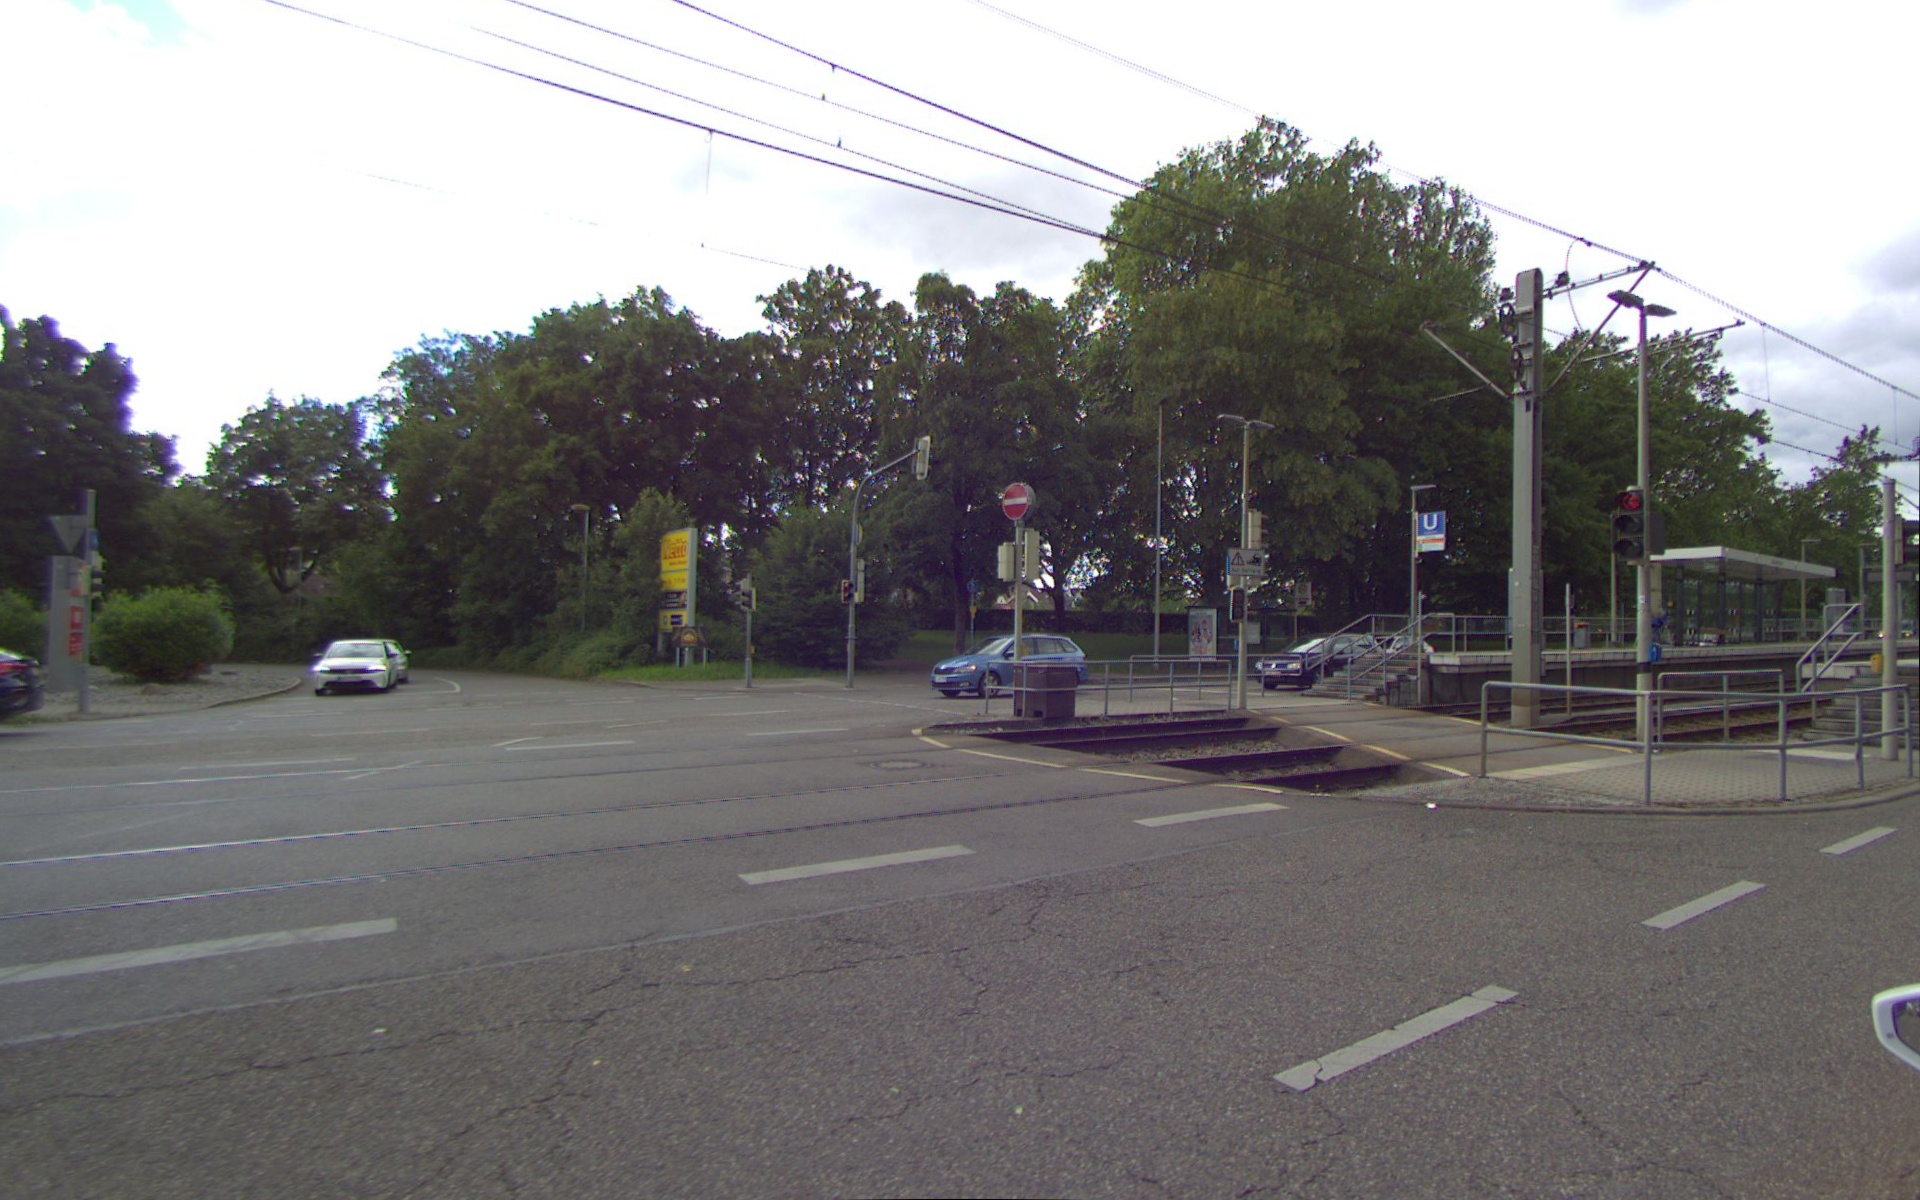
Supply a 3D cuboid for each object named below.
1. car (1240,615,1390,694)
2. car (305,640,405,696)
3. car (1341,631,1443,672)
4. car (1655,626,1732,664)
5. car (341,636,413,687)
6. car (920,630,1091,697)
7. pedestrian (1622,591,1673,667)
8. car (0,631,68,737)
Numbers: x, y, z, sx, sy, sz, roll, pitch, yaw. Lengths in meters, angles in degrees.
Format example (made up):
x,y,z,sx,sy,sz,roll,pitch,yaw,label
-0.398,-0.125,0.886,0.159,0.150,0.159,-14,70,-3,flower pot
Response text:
x,y,z,sx,sy,sz,roll,pitch,yaw,label
9.356,1.409,26.364,3.960,1.885,1.686,2,0,-35,car
-16.740,1.832,27.712,1.831,1.426,3.848,2,-3,-39,car
16.206,1.946,37.589,3.961,1.464,1.675,2,-4,-35,car
35.836,2.234,49.032,4.355,1.774,1.700,3,-3,-35,car
-19.250,1.994,33.085,1.827,1.572,3.964,2,-3,-33,car
1.129,1.509,24.016,4.016,1.465,1.583,2,-4,-37,car
20.441,0.852,29.889,0.965,2.215,0.964,1,-1,-33,pedestrian
-15.606,1.207,14.029,4.462,1.501,1.981,2,-4,-36,car
